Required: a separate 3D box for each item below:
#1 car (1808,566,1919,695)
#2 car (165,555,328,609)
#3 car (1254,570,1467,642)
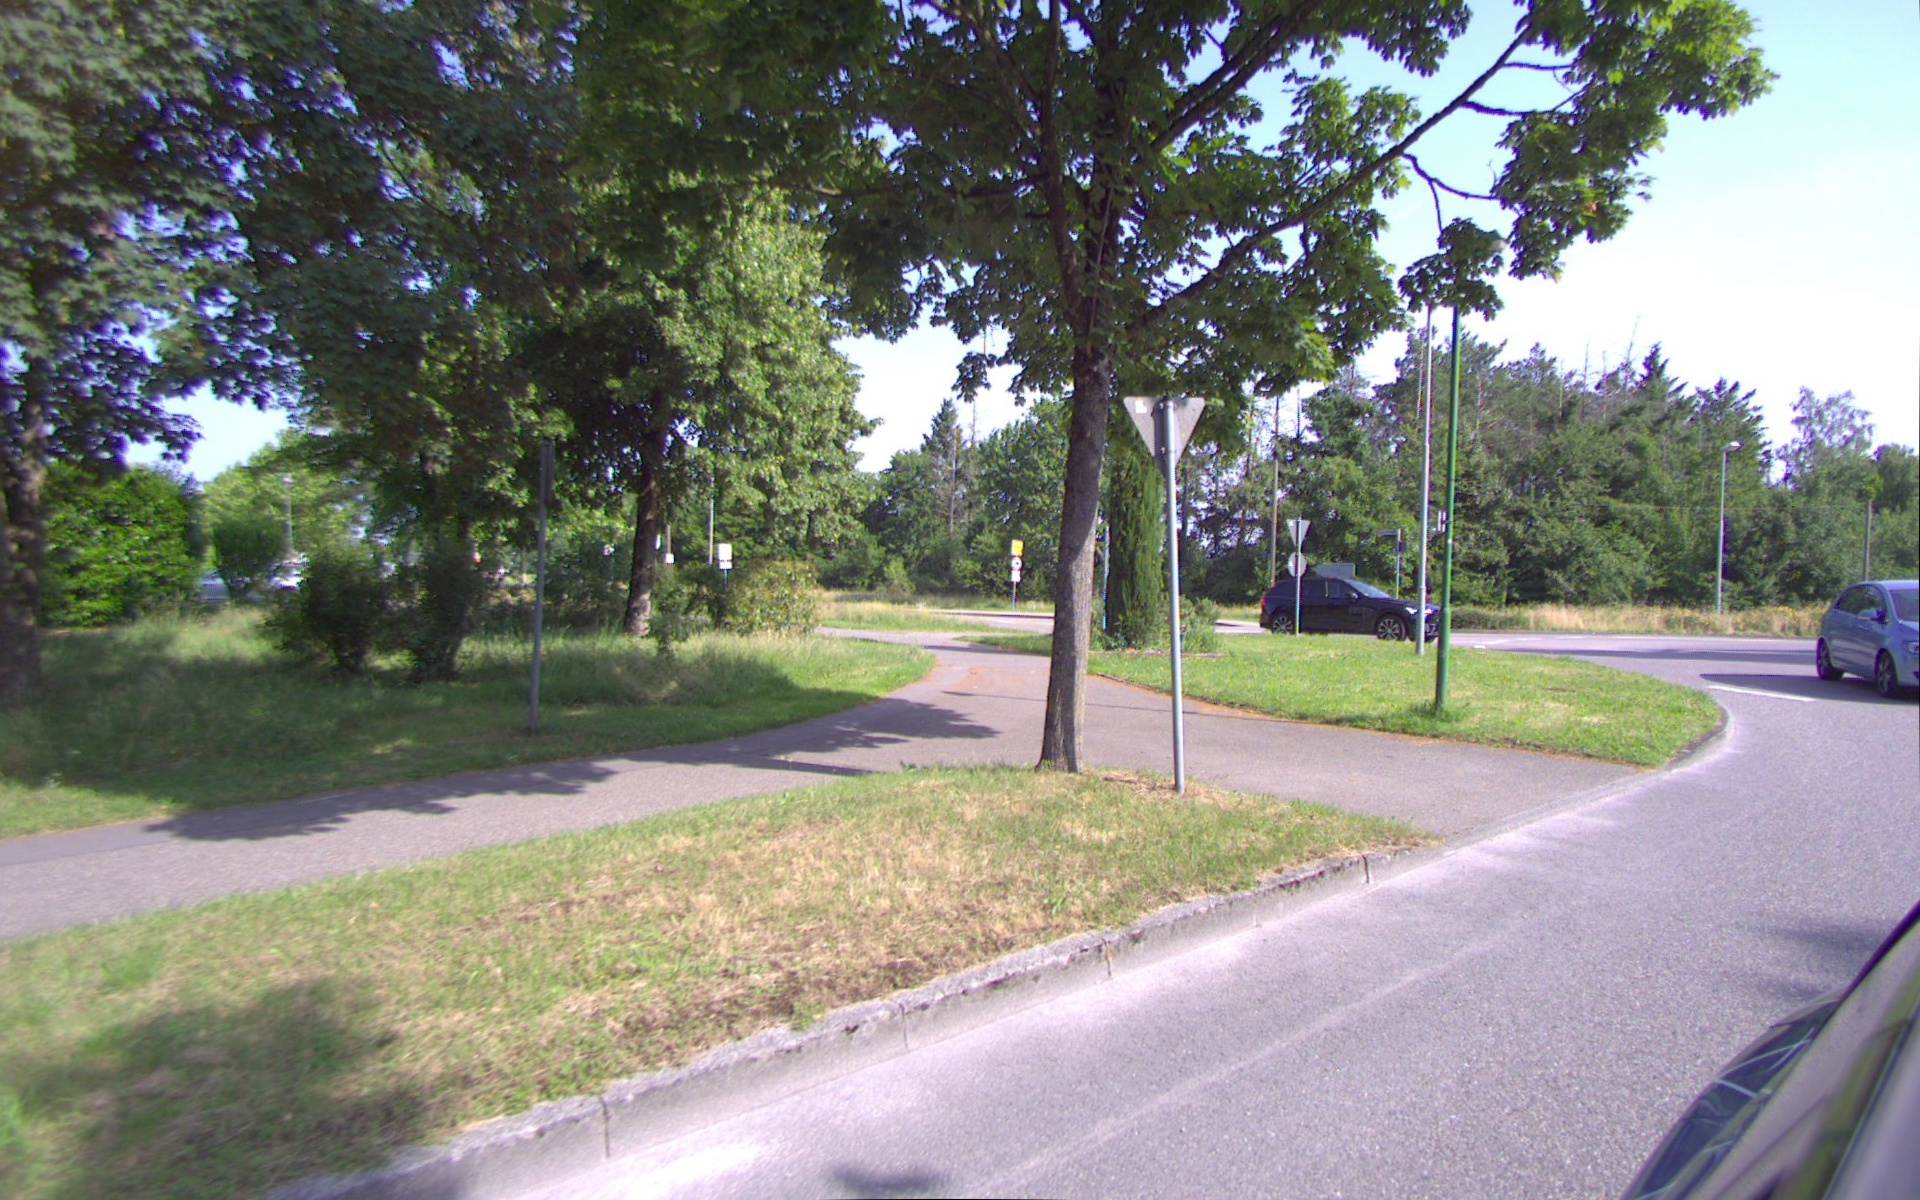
[{"bbox_3d":[13.762,0.376,14.234,1.792,1.621,4.231,2,2,26],"label":"car"},{"bbox_3d":[-22.606,-0.565,32.263,3.988,1.643,1.880,0,1,-26],"label":"car"},{"bbox_3d":[9.988,0.082,25.478,1.921,1.621,4.610,0,2,-44],"label":"car"}]
